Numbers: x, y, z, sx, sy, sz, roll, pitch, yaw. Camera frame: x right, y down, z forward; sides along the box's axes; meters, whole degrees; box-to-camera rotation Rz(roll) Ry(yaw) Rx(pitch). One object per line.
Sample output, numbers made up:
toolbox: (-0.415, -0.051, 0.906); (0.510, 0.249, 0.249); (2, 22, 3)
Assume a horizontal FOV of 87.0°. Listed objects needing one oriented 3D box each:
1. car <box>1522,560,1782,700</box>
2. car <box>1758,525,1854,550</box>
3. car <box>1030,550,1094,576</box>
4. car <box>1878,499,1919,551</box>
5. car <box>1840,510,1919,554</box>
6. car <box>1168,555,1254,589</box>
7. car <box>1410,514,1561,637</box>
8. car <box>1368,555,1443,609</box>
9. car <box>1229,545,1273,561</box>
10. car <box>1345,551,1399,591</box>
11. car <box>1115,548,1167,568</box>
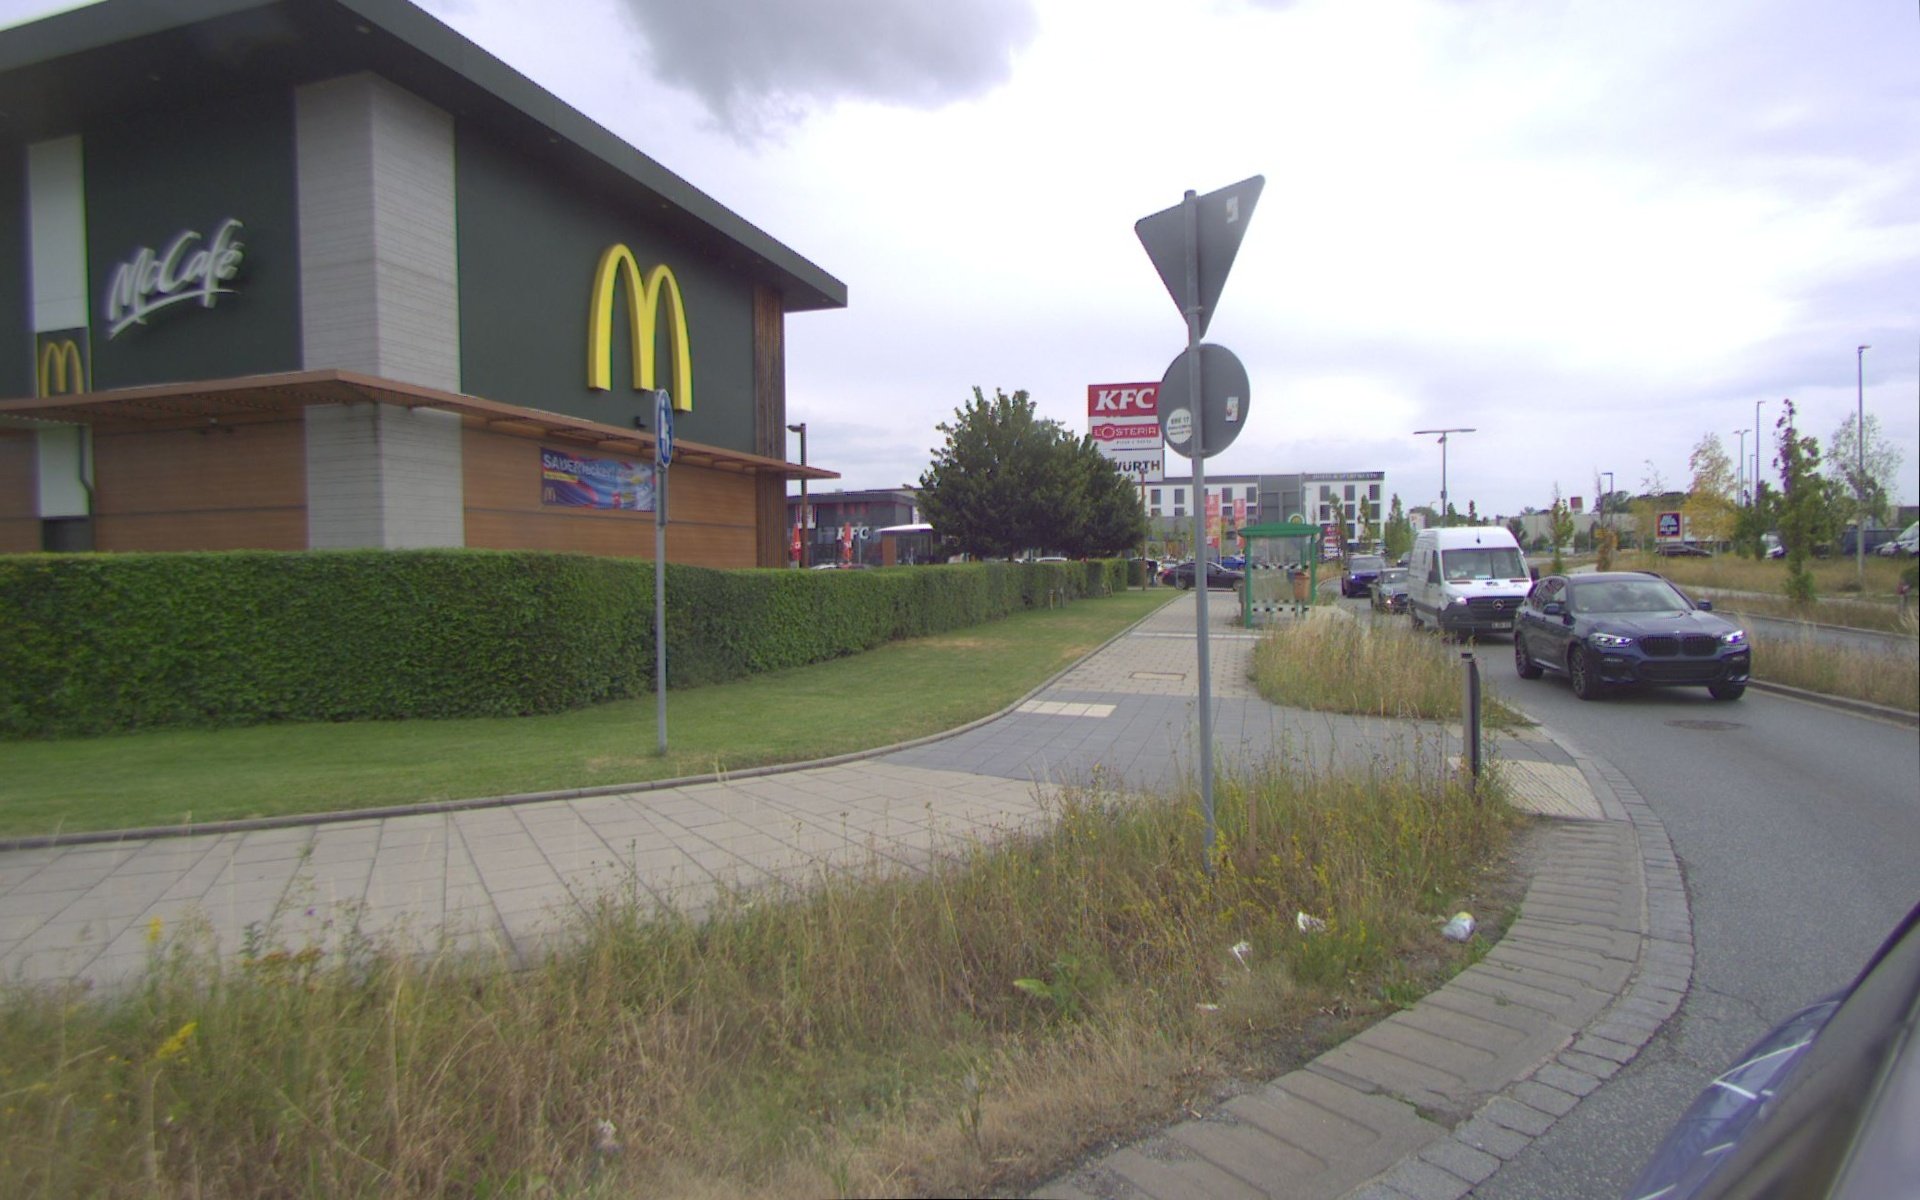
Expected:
car: (9.512, 0.293, 14.328); (1.842, 1.627, 3.982); (0, 3, 16)
car: (61.766, -4.564, 73.981); (5.009, 1.676, 2.046); (0, 3, 28)
car: (6.785, -2.455, 67.084); (3.940, 1.504, 1.841); (-2, 3, 14)
car: (46.750, -3.639, 47.458); (4.989, 2.401, 2.054); (-2, 3, 18)
car: (50.654, -3.645, 54.128); (5.003, 2.250, 2.048); (0, 3, 25)
car: (12.520, -1.398, 50.409); (3.951, 1.504, 1.836); (-2, 3, 21)
car: (12.360, -0.667, 24.272); (1.999, 2.558, 6.078); (0, 3, 16)
car: (14.724, -0.639, 33.628); (1.843, 1.627, 3.979); (0, 3, 18)
car: (30.230, -4.887, 105.042); (3.972, 1.504, 1.826); (-1, 3, 35)
car: (17.887, -1.286, 44.075); (1.843, 1.627, 3.979); (0, 3, 18)
car: (14.940, -3.454, 83.585); (3.959, 1.541, 1.832); (0, 3, 26)
